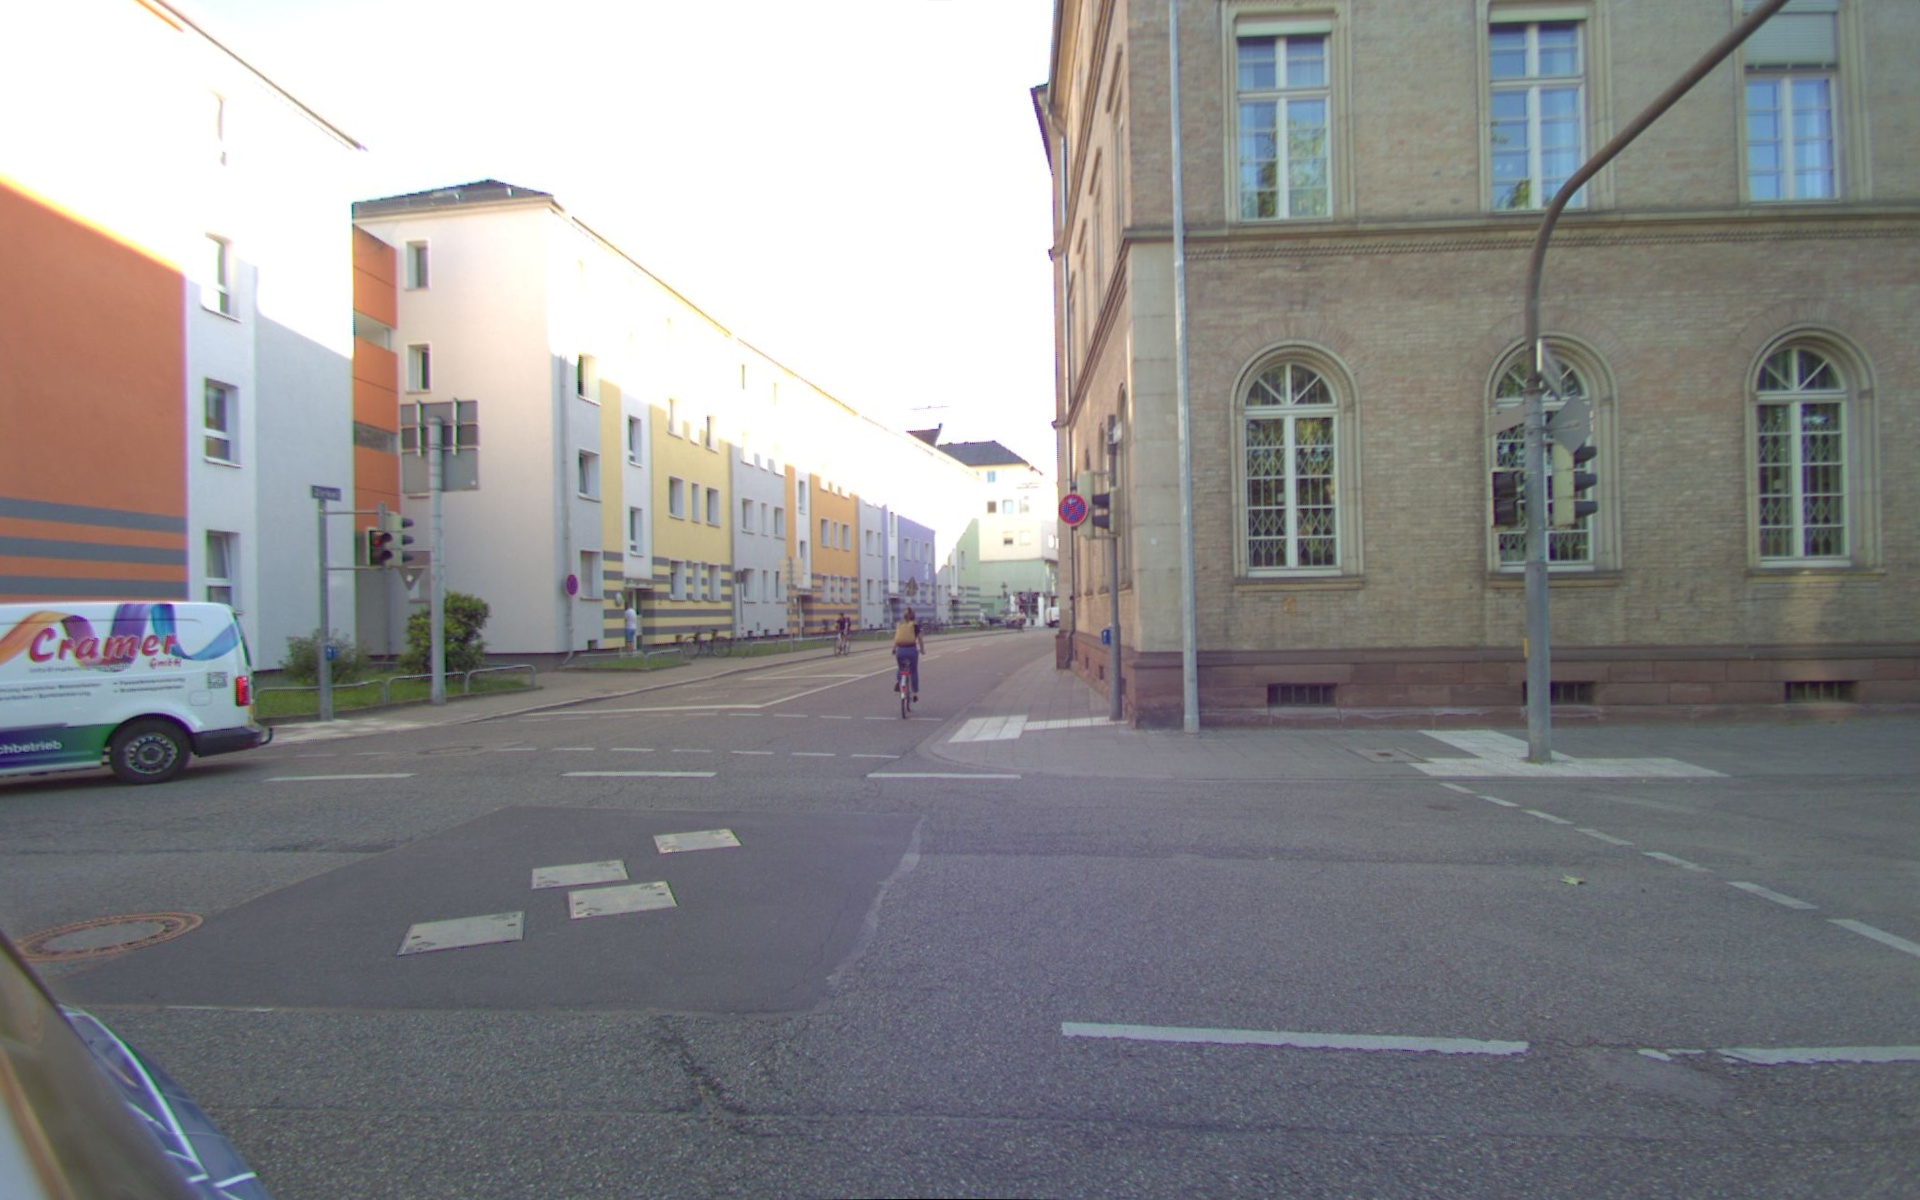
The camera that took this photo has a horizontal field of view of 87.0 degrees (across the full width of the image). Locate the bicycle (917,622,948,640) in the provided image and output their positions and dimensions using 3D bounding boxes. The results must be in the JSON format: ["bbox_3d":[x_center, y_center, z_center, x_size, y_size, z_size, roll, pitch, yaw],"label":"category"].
[{"bbox_3d":[-1.740,1.933,63.732,1.847,1.077,0.711,-1,0,-4],"label":"bicycle"}]

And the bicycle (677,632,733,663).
[{"bbox_3d":[-8.517,1.578,33.886,1.734,1.000,0.540,-1,0,0],"label":"bicycle"}]

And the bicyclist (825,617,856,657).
[{"bbox_3d":[-4.330,1.340,36.651,0.785,1.383,0.834,-4,-4,16],"label":"bicyclist"}]

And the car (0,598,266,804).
[{"bbox_3d":[-9.643,0.952,9.384,5.048,1.830,2.002,0,-3,-43],"label":"car"}]

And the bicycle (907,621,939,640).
[{"bbox_3d":[-2.273,1.852,61.984,1.851,1.077,0.710,-1,0,3],"label":"bicycle"}]

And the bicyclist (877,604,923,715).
[{"bbox_3d":[-0.916,0.903,15.651,0.636,1.659,0.855,-1,-1,-1],"label":"bicyclist"}]

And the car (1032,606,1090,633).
[{"bbox_3d":[8.863,1.748,89.276,4.634,2.029,2.003,-4,-1,-6],"label":"car"}]

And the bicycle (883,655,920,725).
[{"bbox_3d":[-0.892,1.364,15.690,0.488,0.931,1.822,-1,-1,-1],"label":"bicycle"}]

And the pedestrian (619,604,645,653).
[{"bbox_3d":[-9.912,0.857,30.611,0.553,1.472,0.598,-1,-1,2],"label":"pedestrian"}]

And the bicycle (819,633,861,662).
[{"bbox_3d":[-4.317,1.720,36.604,0.783,1.007,1.982,-4,-4,16],"label":"bicycle"}]

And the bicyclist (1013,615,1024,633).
[{"bbox_3d":[4.177,1.723,72.045,0.671,1.269,0.818,-2,-1,12],"label":"bicyclist"}]

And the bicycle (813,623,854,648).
[{"bbox_3d":[-5.987,1.679,47.903,1.851,1.077,0.710,-1,0,3],"label":"bicycle"}]

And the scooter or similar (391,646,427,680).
[{"bbox_3d":[-13.749,1.571,25.252,0.733,0.794,0.302,-1,0,-12],"label":"scooter or similar"}]

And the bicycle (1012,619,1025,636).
[{"bbox_3d":[4.170,1.957,72.001,0.671,1.119,1.789,-2,-1,13],"label":"bicycle"}]
